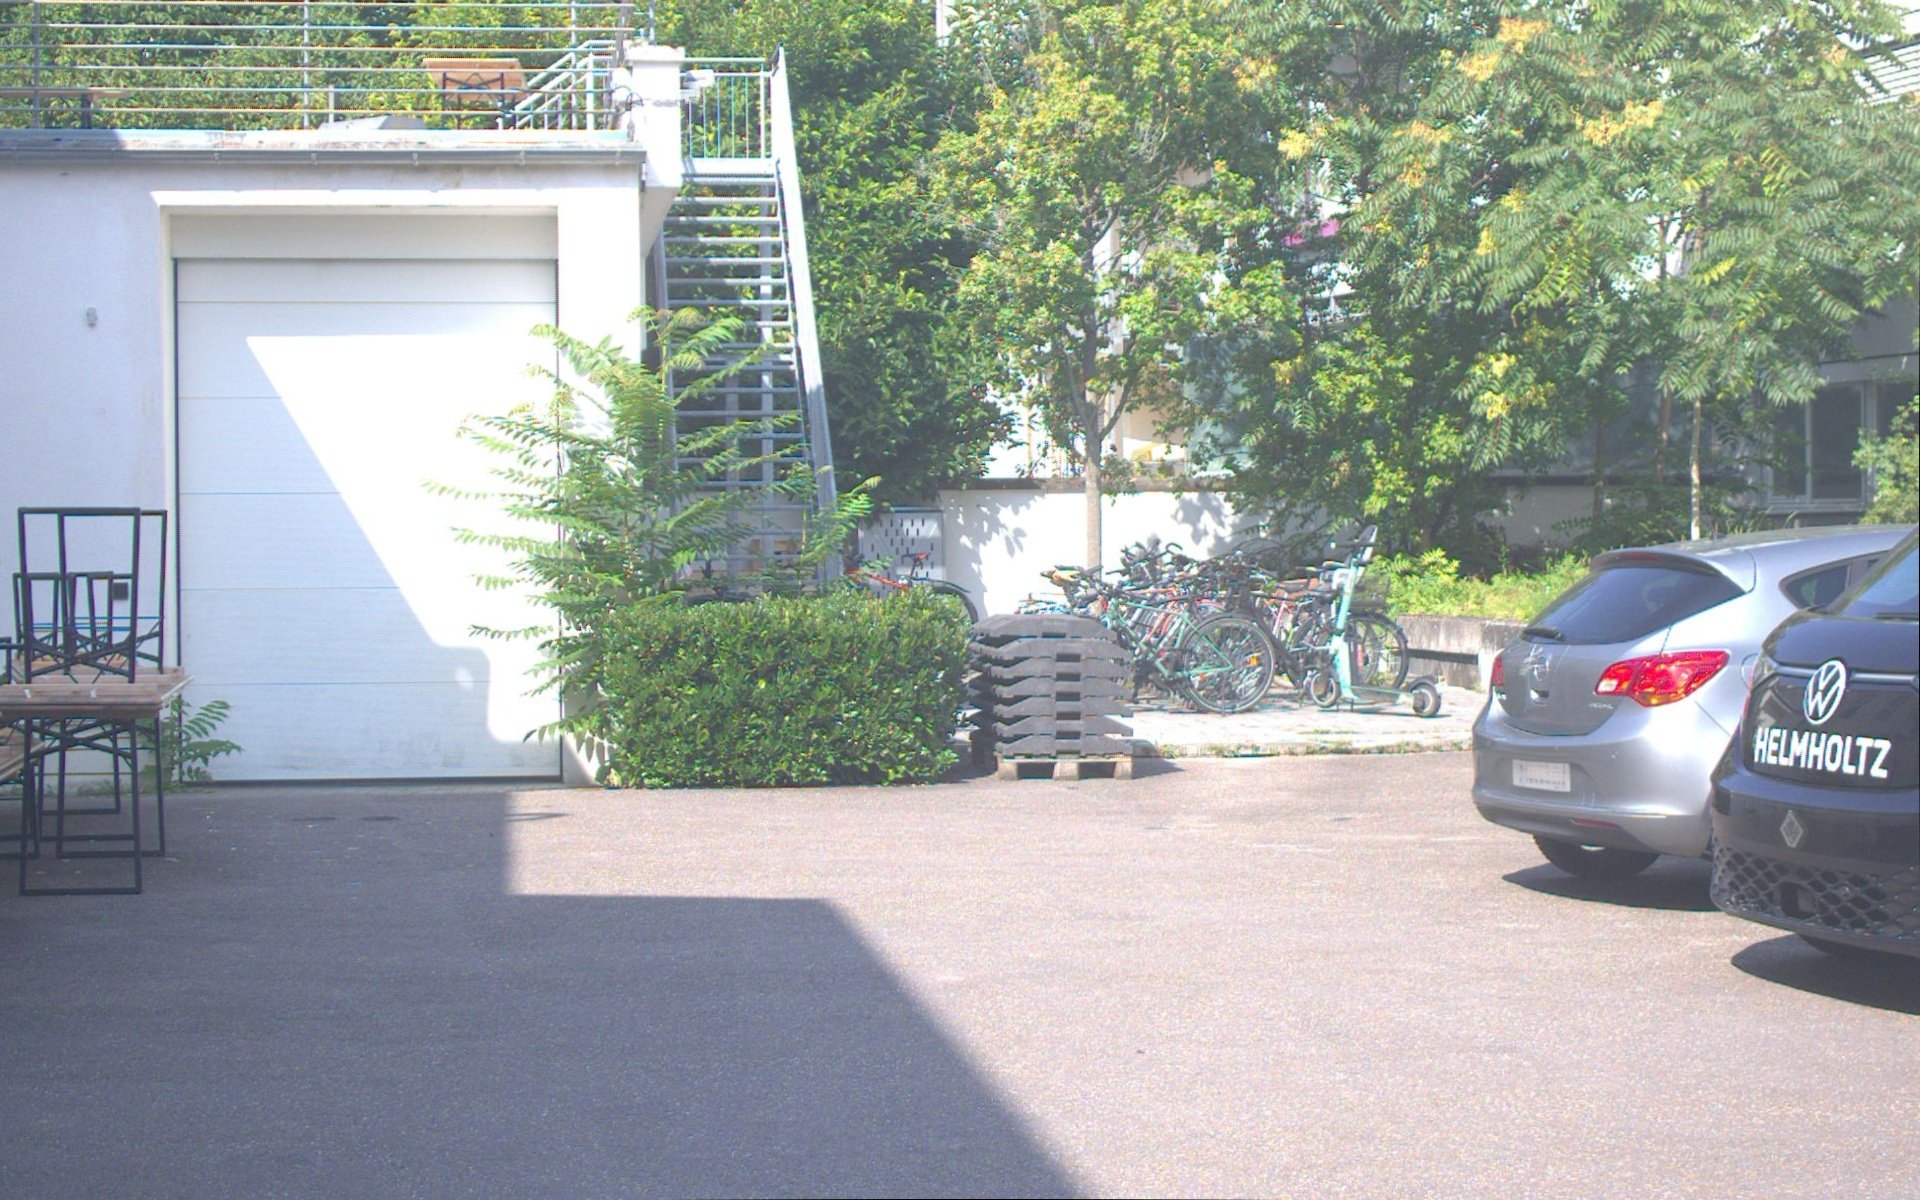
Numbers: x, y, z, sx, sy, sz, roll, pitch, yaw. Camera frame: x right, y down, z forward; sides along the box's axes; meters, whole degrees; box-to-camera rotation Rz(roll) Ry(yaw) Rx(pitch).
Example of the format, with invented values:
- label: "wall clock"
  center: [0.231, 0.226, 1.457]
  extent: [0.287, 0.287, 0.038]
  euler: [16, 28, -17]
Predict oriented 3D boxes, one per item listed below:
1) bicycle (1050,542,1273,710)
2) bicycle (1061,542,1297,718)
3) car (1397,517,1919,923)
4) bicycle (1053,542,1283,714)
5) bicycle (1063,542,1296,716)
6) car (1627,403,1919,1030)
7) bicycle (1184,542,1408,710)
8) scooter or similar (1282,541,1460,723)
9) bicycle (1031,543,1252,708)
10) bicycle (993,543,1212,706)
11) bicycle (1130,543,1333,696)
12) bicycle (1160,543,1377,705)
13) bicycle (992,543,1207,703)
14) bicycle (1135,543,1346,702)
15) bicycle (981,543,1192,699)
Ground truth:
- label: "bicycle"
  center: [1.496, 0.194, 25.582]
  extent: [1.623, 1.210, 0.327]
  euler: [-1, 1, 3]
- label: "bicycle"
  center: [1.558, 0.209, 24.515]
  extent: [1.623, 1.210, 0.327]
  euler: [-1, 1, -6]
- label: "car"
  center: [3.970, 0.408, 14.036]
  extent: [3.931, 1.477, 1.775]
  euler: [-1, 1, -16]
- label: "bicycle"
  center: [1.517, 0.201, 25.130]
  extent: [1.623, 1.210, 0.327]
  euler: [-1, 1, -6]
- label: "bicycle"
  center: [1.583, 0.205, 24.842]
  extent: [1.623, 1.210, 0.327]
  euler: [-1, 1, -6]
- label: "car"
  center: [4.664, 0.289, 11.210]
  extent: [4.499, 1.788, 1.884]
  euler: [-1, 1, -16]
- label: "bicycle"
  center: [2.506, 0.193, 25.602]
  extent: [1.623, 1.210, 0.327]
  euler: [-1, 1, 8]
- label: "scooter or similar"
  center: [2.912, 0.216, 24.431]
  extent: [0.378, 1.256, 1.348]
  euler: [-2, 2, -39]
- label: "bicycle"
  center: [1.372, 0.189, 25.934]
  extent: [1.623, 1.210, 0.327]
  euler: [-1, 1, 6]
- label: "bicycle"
  center: [1.100, 0.181, 26.583]
  extent: [1.623, 1.210, 0.424]
  euler: [-1, 1, -8]
- label: "bicycle"
  center: [2.216, 0.159, 28.049]
  extent: [1.623, 1.210, 0.424]
  euler: [-1, 1, 5]
- label: "bicycle"
  center: [2.375, 0.181, 26.453]
  extent: [1.623, 1.210, 0.424]
  euler: [-1, 1, 6]
- label: "bicycle"
  center: [1.104, 0.171, 27.223]
  extent: [1.622, 1.210, 0.424]
  euler: [-1, 1, -12]
- label: "bicycle"
  center: [2.204, 0.174, 27.014]
  extent: [1.623, 1.210, 0.424]
  euler: [-1, 1, 5]
- label: "bicycle"
  center: [1.023, 0.163, 27.820]
  extent: [1.622, 1.210, 0.424]
  euler: [-1, 1, -12]
